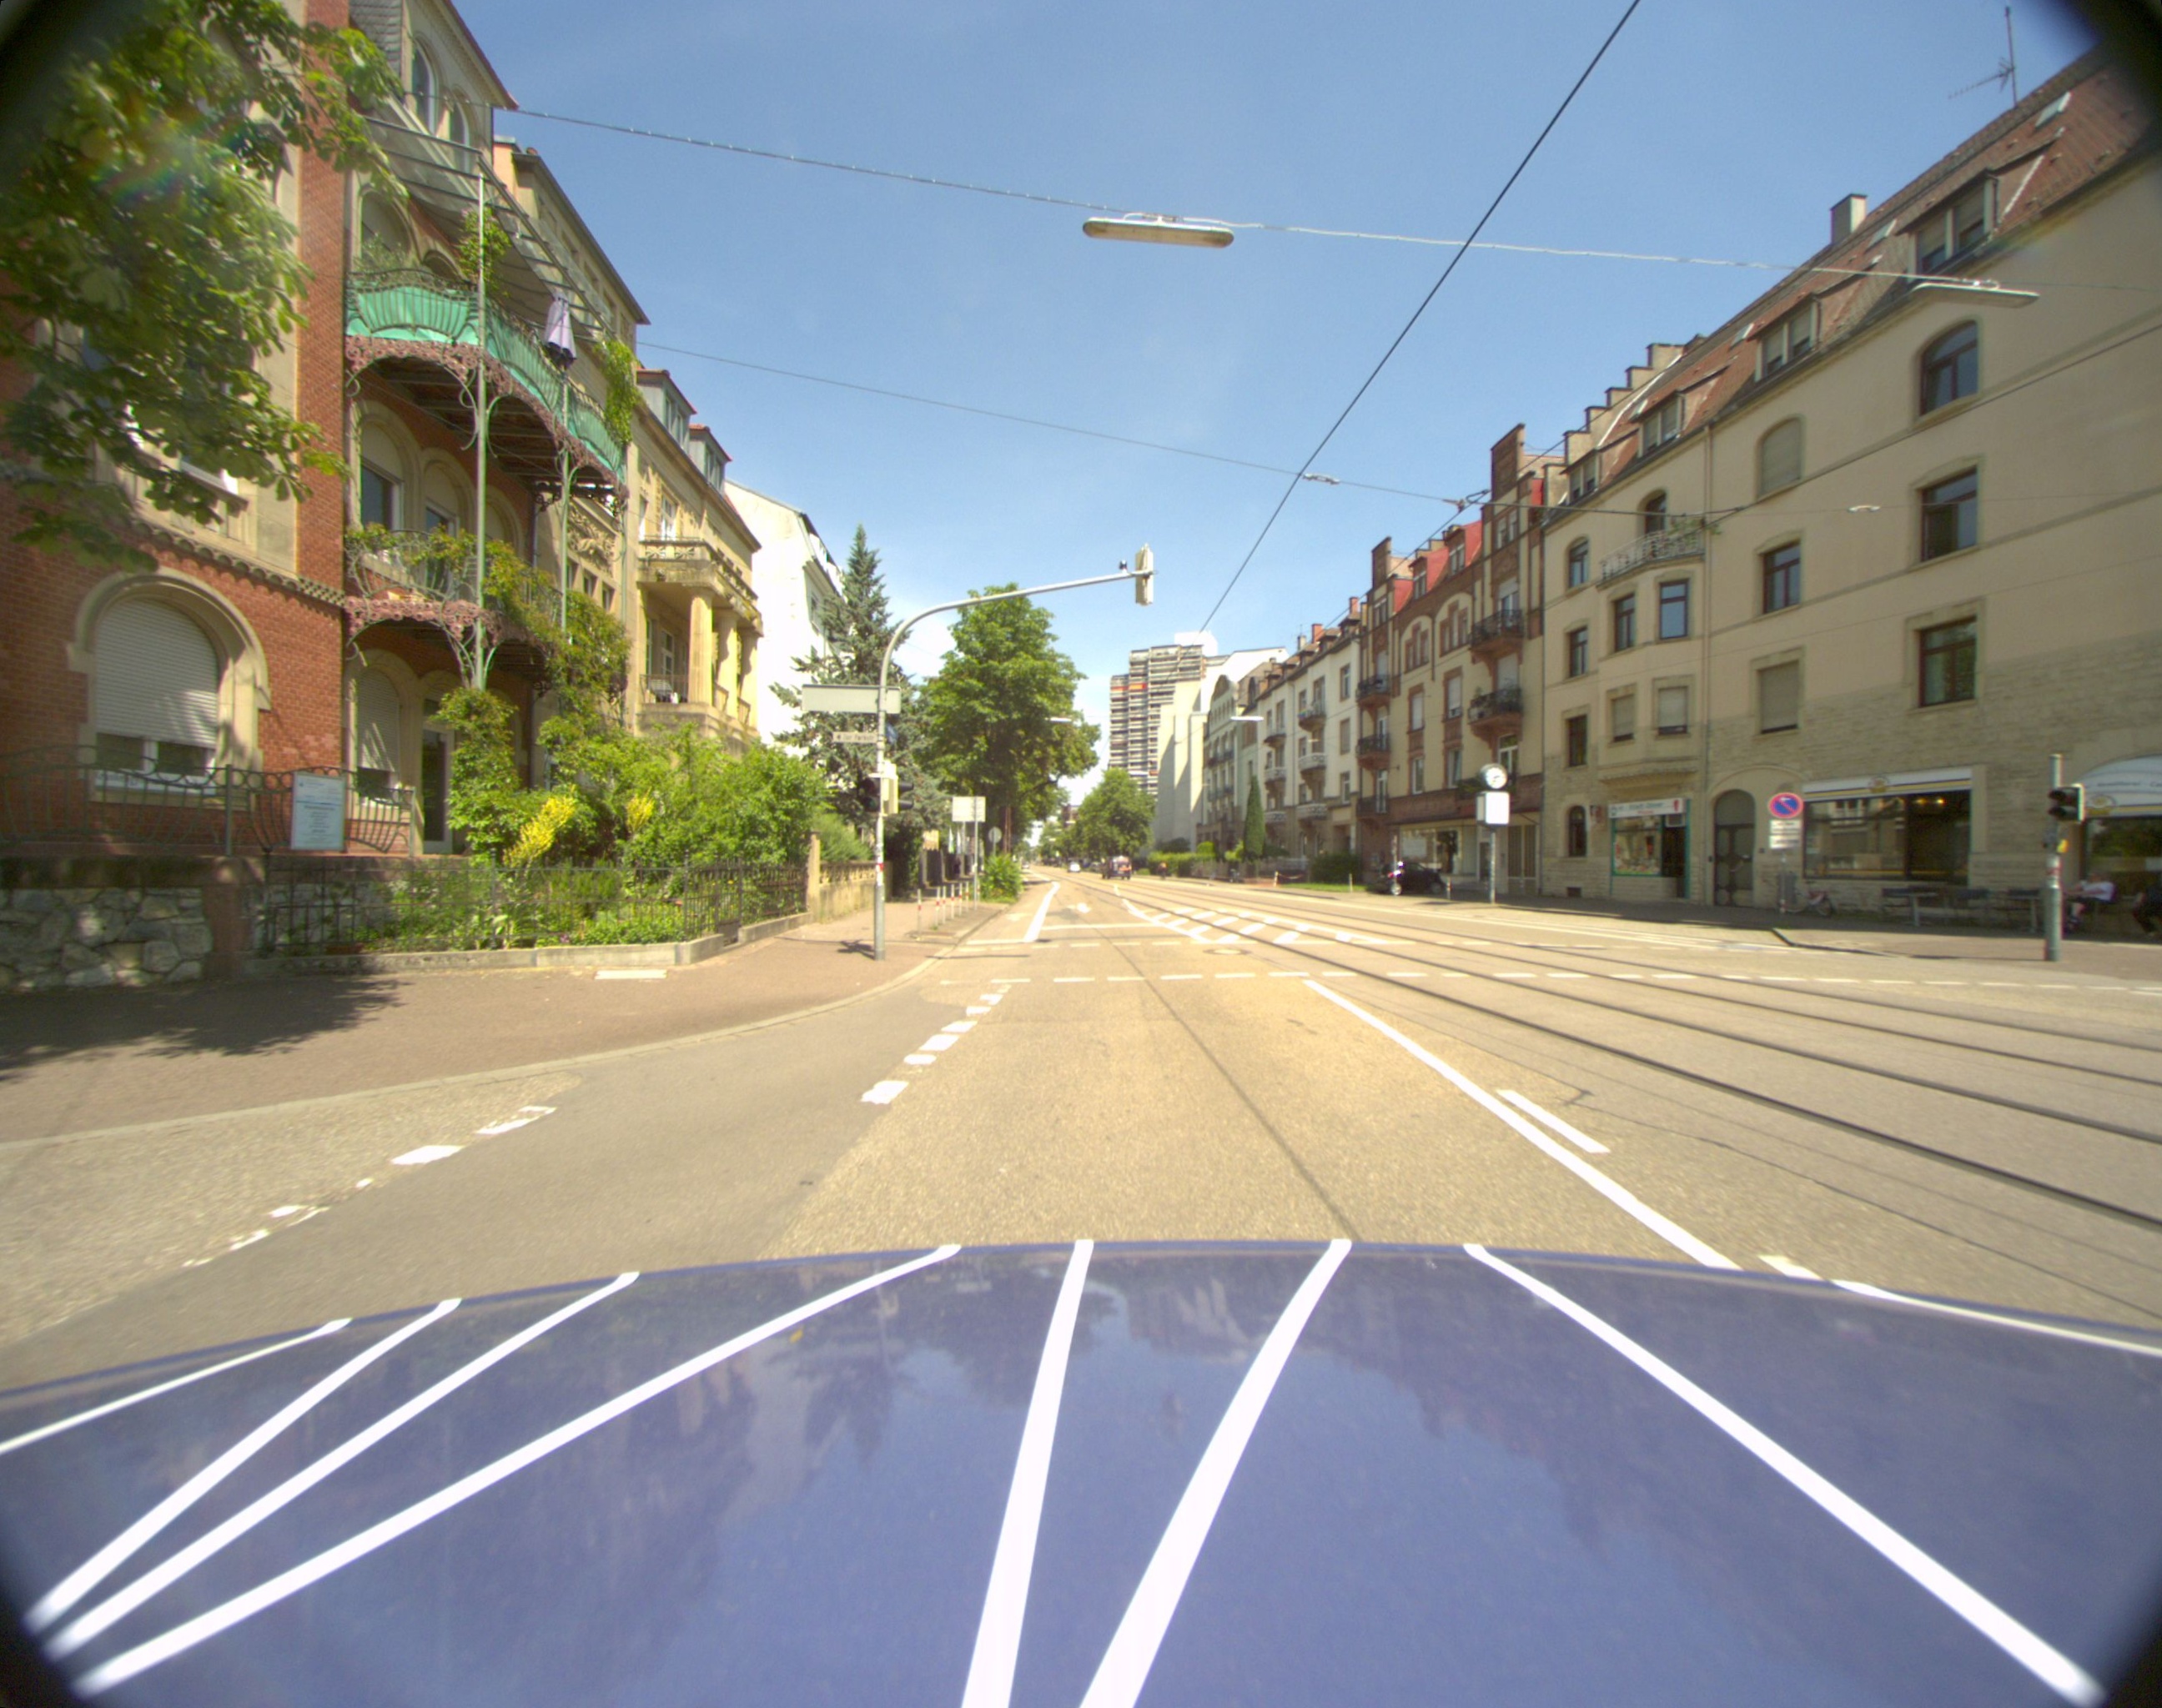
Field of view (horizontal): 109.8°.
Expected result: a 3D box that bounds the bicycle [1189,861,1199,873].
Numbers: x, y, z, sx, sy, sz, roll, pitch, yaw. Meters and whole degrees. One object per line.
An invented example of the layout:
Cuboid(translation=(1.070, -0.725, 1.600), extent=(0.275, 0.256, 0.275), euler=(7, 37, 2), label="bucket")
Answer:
Cuboid(translation=(9.770, 1.101, 65.634), extent=(0.400, 0.965, 2.046), euler=(0, 0, -6), label="bicycle")

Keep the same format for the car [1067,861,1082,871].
Cuboid(translation=(-0.965, 1.728, 110.338), extent=(1.713, 1.404, 3.822), euler=(2, 0, -7), label="car")

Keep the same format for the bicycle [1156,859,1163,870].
Cuboid(translation=(8.292, 1.085, 80.184), extent=(0.340, 1.062, 1.727), euler=(0, 1, -6), label="bicycle")

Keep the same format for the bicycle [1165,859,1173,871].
Cuboid(translation=(8.797, 1.081, 76.033), extent=(0.340, 1.157, 1.932), euler=(0, 1, -6), label="bicycle")

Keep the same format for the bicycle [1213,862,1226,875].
Cuboid(translation=(10.520, 1.086, 57.727), extent=(0.463, 0.943, 1.953), euler=(0, 0, -6), label="bicycle")

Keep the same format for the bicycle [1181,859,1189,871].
Cuboid(translation=(9.573, 1.028, 69.788), extent=(0.290, 1.040, 1.898), euler=(0, 1, -6), label="bicycle")

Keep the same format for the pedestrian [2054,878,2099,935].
Cuboid(translation=(19.532, 1.027, 14.909), extent=(0.356, 1.083, 0.405), euler=(-1, 1, -9), label="pedestrian")

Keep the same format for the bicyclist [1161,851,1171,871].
Cuboid(translation=(6.980, 0.559, 62.404), extent=(0.612, 1.653, 0.579), euler=(1, 0, -6), label="bicyclist")

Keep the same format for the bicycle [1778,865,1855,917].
Cuboid(translation=(19.217, 0.935, 19.896), extent=(0.454, 1.218, 2.082), euler=(0, 1, 14), label="bicycle")

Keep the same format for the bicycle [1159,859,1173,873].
Cuboid(translation=(6.974, 0.983, 62.461), extent=(0.646, 1.068, 2.185), euler=(1, 0, -6), label="bicycle")

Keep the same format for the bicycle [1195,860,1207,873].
Cuboid(translation=(10.010, 1.049, 63.525), extent=(0.493, 1.090, 2.046), euler=(0, 0, -6), label="bicycle")

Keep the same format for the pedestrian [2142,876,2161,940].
Cuboid(translation=(19.752, 0.986, 13.803), extent=(0.406, 1.142, 0.405), euler=(-1, 1, -9), label="pedestrian")

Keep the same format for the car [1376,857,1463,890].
Cuboid(translation=(15.715, 0.888, 35.351), extent=(3.363, 1.463, 1.529), euler=(-1, 0, -2), label="car")

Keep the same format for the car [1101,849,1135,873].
Cuboid(translation=(3.178, 0.589, 66.066), extent=(1.850, 1.926, 4.817), euler=(2, 0, -11), label="car")

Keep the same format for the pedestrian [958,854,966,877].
Cuboid(translation=(-8.670, 0.823, 55.354), extent=(0.547, 1.683, 0.755), euler=(1, 1, -6), label="pedestrian")

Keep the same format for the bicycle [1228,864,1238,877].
Cuboid(translation=(10.752, 1.148, 53.788), extent=(0.253, 0.911, 1.613), euler=(0, 0, -6), label="bicycle")
